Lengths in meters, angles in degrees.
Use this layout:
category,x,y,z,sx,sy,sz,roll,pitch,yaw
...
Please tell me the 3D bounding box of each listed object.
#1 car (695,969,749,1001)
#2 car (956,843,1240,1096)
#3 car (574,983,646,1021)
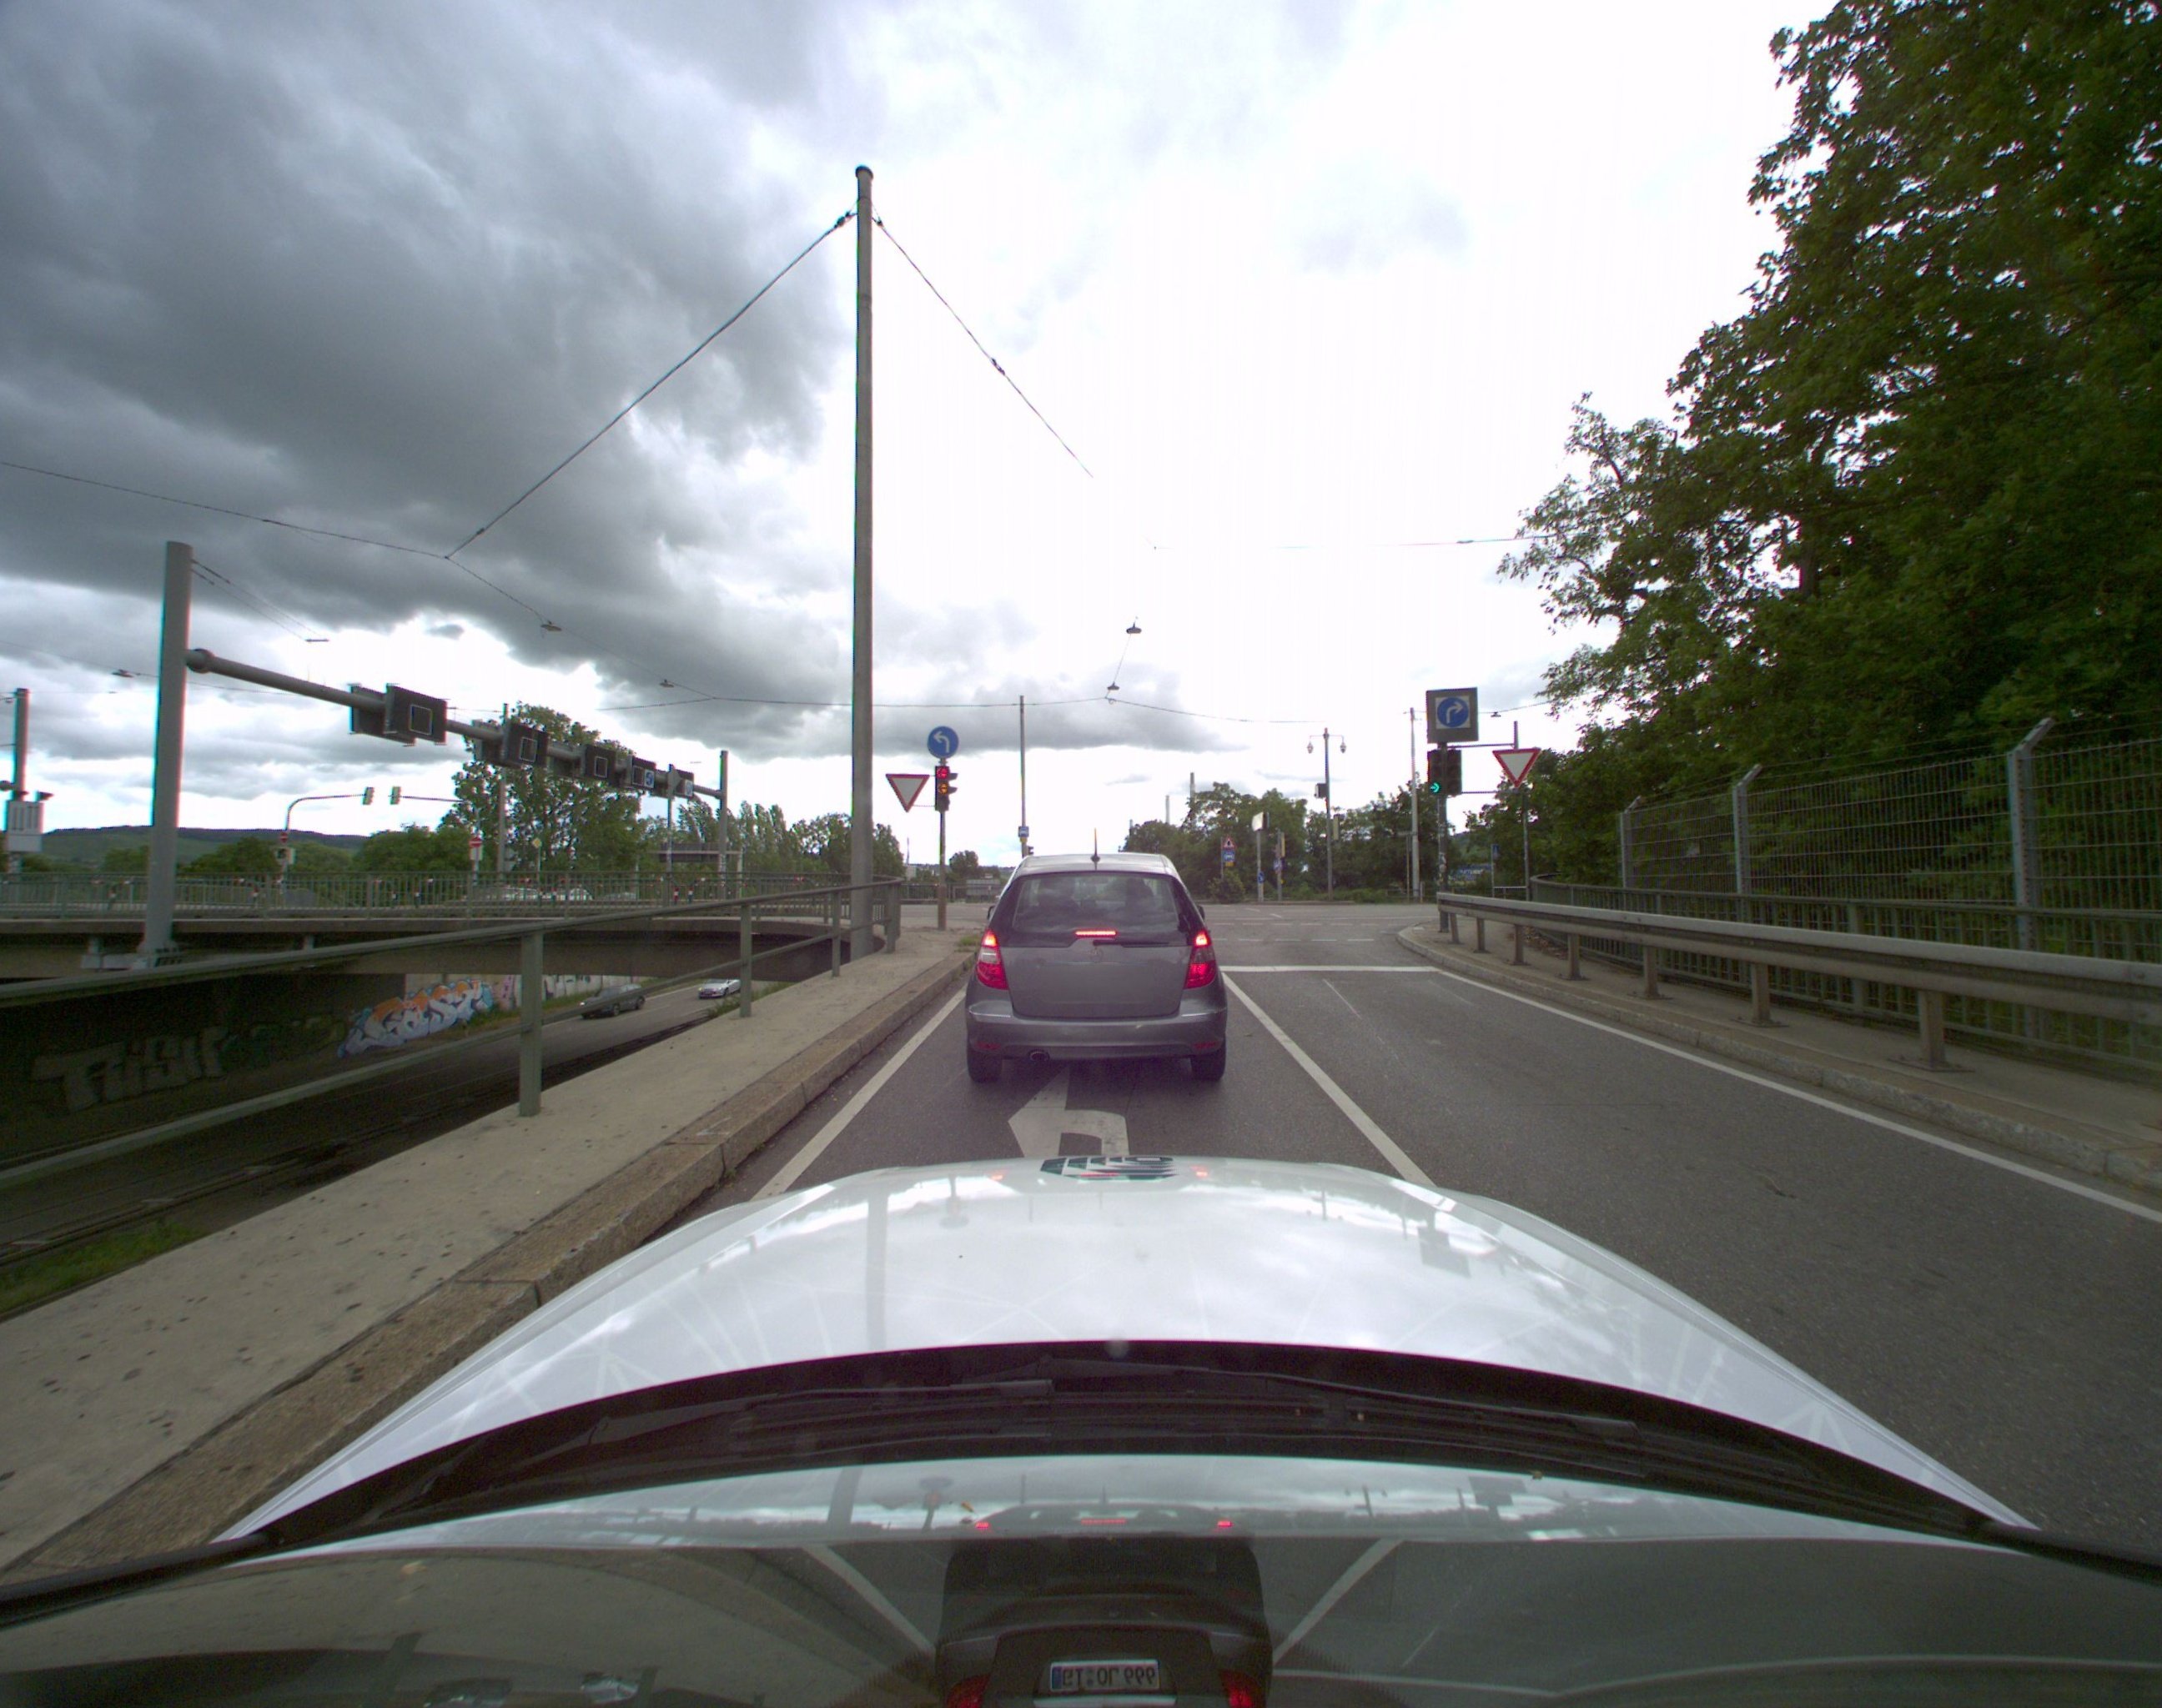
category,x,y,z,sx,sy,sz,roll,pitch,yaw
car,-24.845,9.048,56.509,1.675,1.611,4.492,-2,-3,0
car,0.161,0.727,6.776,1.733,1.543,3.542,0,-1,2
car,-28.082,8.804,48.701,1.705,1.670,4.256,-2,-3,2
